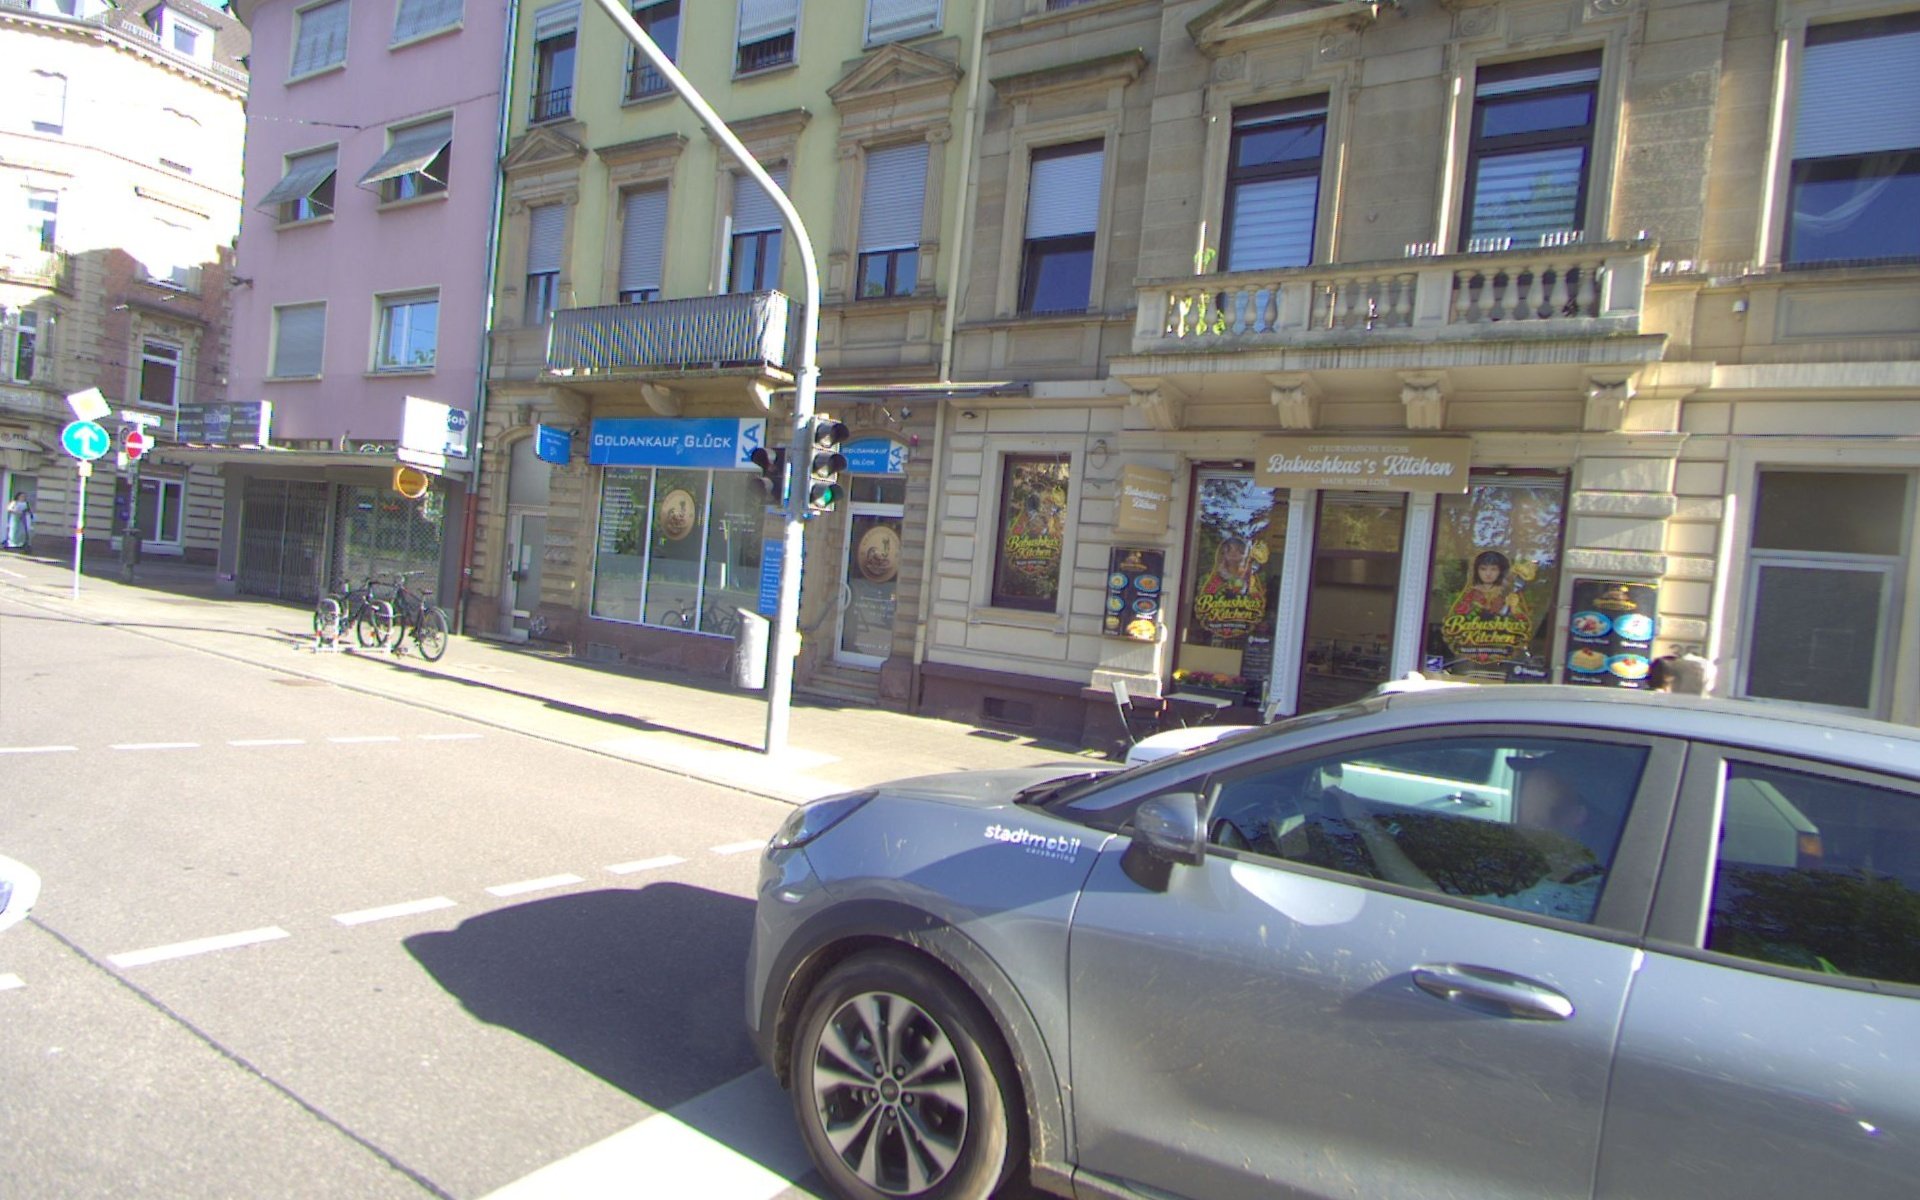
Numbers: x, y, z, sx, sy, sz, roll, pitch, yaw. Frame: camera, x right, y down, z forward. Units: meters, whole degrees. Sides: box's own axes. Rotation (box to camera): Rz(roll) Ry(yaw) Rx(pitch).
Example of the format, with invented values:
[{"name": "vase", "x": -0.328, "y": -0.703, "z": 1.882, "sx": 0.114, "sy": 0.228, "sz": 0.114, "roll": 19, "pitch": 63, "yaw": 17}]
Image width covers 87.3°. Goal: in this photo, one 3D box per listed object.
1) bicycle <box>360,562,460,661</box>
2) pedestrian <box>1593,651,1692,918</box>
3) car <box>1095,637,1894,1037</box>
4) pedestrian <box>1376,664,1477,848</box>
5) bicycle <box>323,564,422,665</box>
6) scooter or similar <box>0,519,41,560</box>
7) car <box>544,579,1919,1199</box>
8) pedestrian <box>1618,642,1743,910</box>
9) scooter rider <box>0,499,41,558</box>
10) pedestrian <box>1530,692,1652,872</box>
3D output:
[{"name": "bicycle", "x": -7.560, "y": 0.143, "z": 13.798, "sx": 1.731, "sy": 1.174, "sz": 0.448, "roll": 7, "pitch": 1, "yaw": 37}, {"name": "pedestrian", "x": 4.728, "y": 1.244, "z": 6.983, "sx": 0.382, "sy": 1.731, "sz": 0.549, "roll": 7, "pitch": 4, "yaw": 34}, {"name": "car", "x": 3.042, "y": 1.191, "z": 6.449, "sx": 3.937, "sy": 1.435, "sz": 1.562, "roll": 6, "pitch": 4, "yaw": 32}, {"name": "pedestrian", "x": 4.179, "y": 1.346, "z": 9.007, "sx": 0.644, "sy": 1.392, "sz": 1.013, "roll": 6, "pitch": 6, "yaw": 26}, {"name": "bicycle", "x": -7.828, "y": 0.171, "z": 13.374, "sx": 1.782, "sy": 1.155, "sz": 0.413, "roll": 6, "pitch": 0, "yaw": 38}, {"name": "scooter or similar", "x": -26.101, "y": -1.684, "z": 27.832, "sx": 1.260, "sy": 1.000, "sz": 0.338, "roll": 6, "pitch": 1, "yaw": 15}, {"name": "car", "x": 1.312, "y": 0.981, "z": 2.293, "sx": 4.304, "sy": 1.546, "sz": 1.701, "roll": 6, "pitch": -1, "yaw": 28}, {"name": "pedestrian", "x": 5.305, "y": 1.251, "z": 7.445, "sx": 0.522, "sy": 1.831, "sz": 0.673, "roll": 7, "pitch": 3, "yaw": 31}, {"name": "scooter rider", "x": -26.077, "y": -1.965, "z": 27.878, "sx": 0.795, "sy": 1.524, "sz": 0.467, "roll": 6, "pitch": 1, "yaw": 15}, {"name": "pedestrian", "x": 5.266, "y": 1.479, "z": 8.450, "sx": 0.644, "sy": 1.298, "sz": 0.902, "roll": 6, "pitch": 2, "yaw": 26}]
